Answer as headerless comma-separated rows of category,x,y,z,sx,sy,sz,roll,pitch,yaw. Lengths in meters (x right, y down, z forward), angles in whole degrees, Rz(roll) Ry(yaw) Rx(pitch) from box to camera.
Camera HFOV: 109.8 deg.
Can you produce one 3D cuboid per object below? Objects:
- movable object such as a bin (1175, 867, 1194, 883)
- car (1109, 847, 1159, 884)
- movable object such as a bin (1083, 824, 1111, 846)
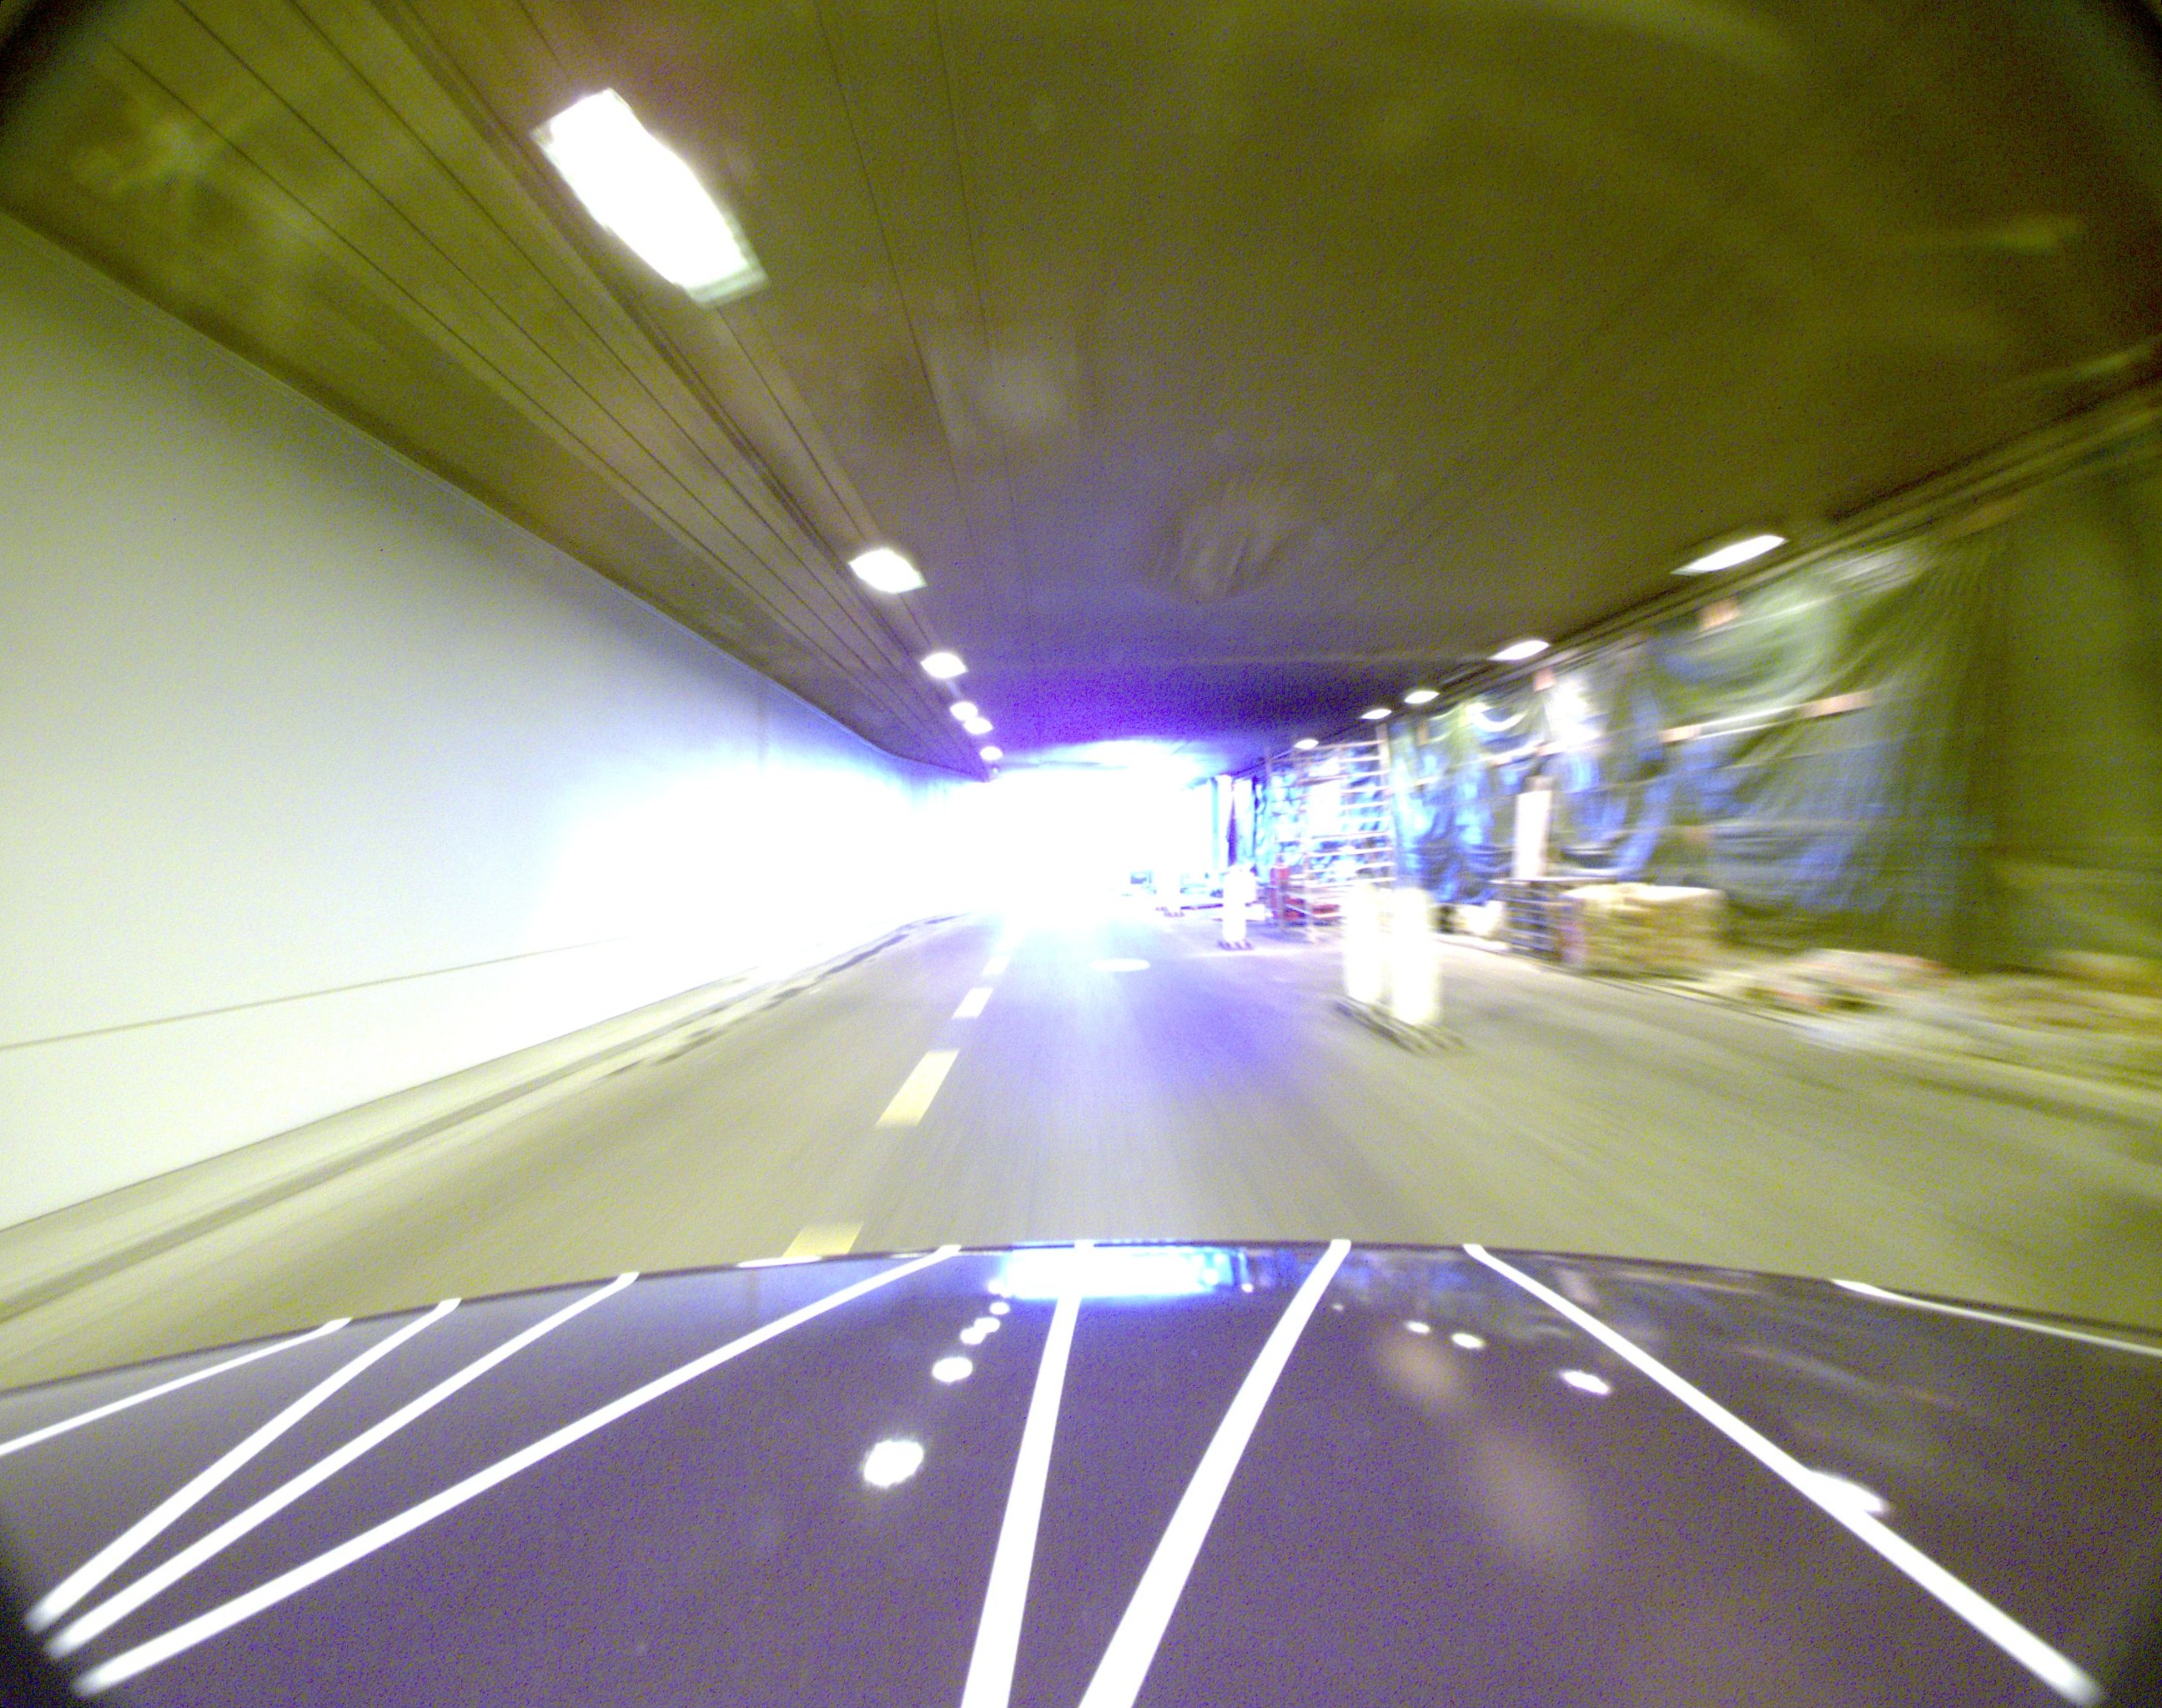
movable object such as a bin,4.960,1.004,36.489,0.653,0.737,1.030,-1,2,-7
car,2.742,0.553,40.523,1.854,1.765,4.431,-2,1,-7
movable object such as a bin,1.492,-1.853,73.214,1.892,1.976,3.153,-2,3,-14
